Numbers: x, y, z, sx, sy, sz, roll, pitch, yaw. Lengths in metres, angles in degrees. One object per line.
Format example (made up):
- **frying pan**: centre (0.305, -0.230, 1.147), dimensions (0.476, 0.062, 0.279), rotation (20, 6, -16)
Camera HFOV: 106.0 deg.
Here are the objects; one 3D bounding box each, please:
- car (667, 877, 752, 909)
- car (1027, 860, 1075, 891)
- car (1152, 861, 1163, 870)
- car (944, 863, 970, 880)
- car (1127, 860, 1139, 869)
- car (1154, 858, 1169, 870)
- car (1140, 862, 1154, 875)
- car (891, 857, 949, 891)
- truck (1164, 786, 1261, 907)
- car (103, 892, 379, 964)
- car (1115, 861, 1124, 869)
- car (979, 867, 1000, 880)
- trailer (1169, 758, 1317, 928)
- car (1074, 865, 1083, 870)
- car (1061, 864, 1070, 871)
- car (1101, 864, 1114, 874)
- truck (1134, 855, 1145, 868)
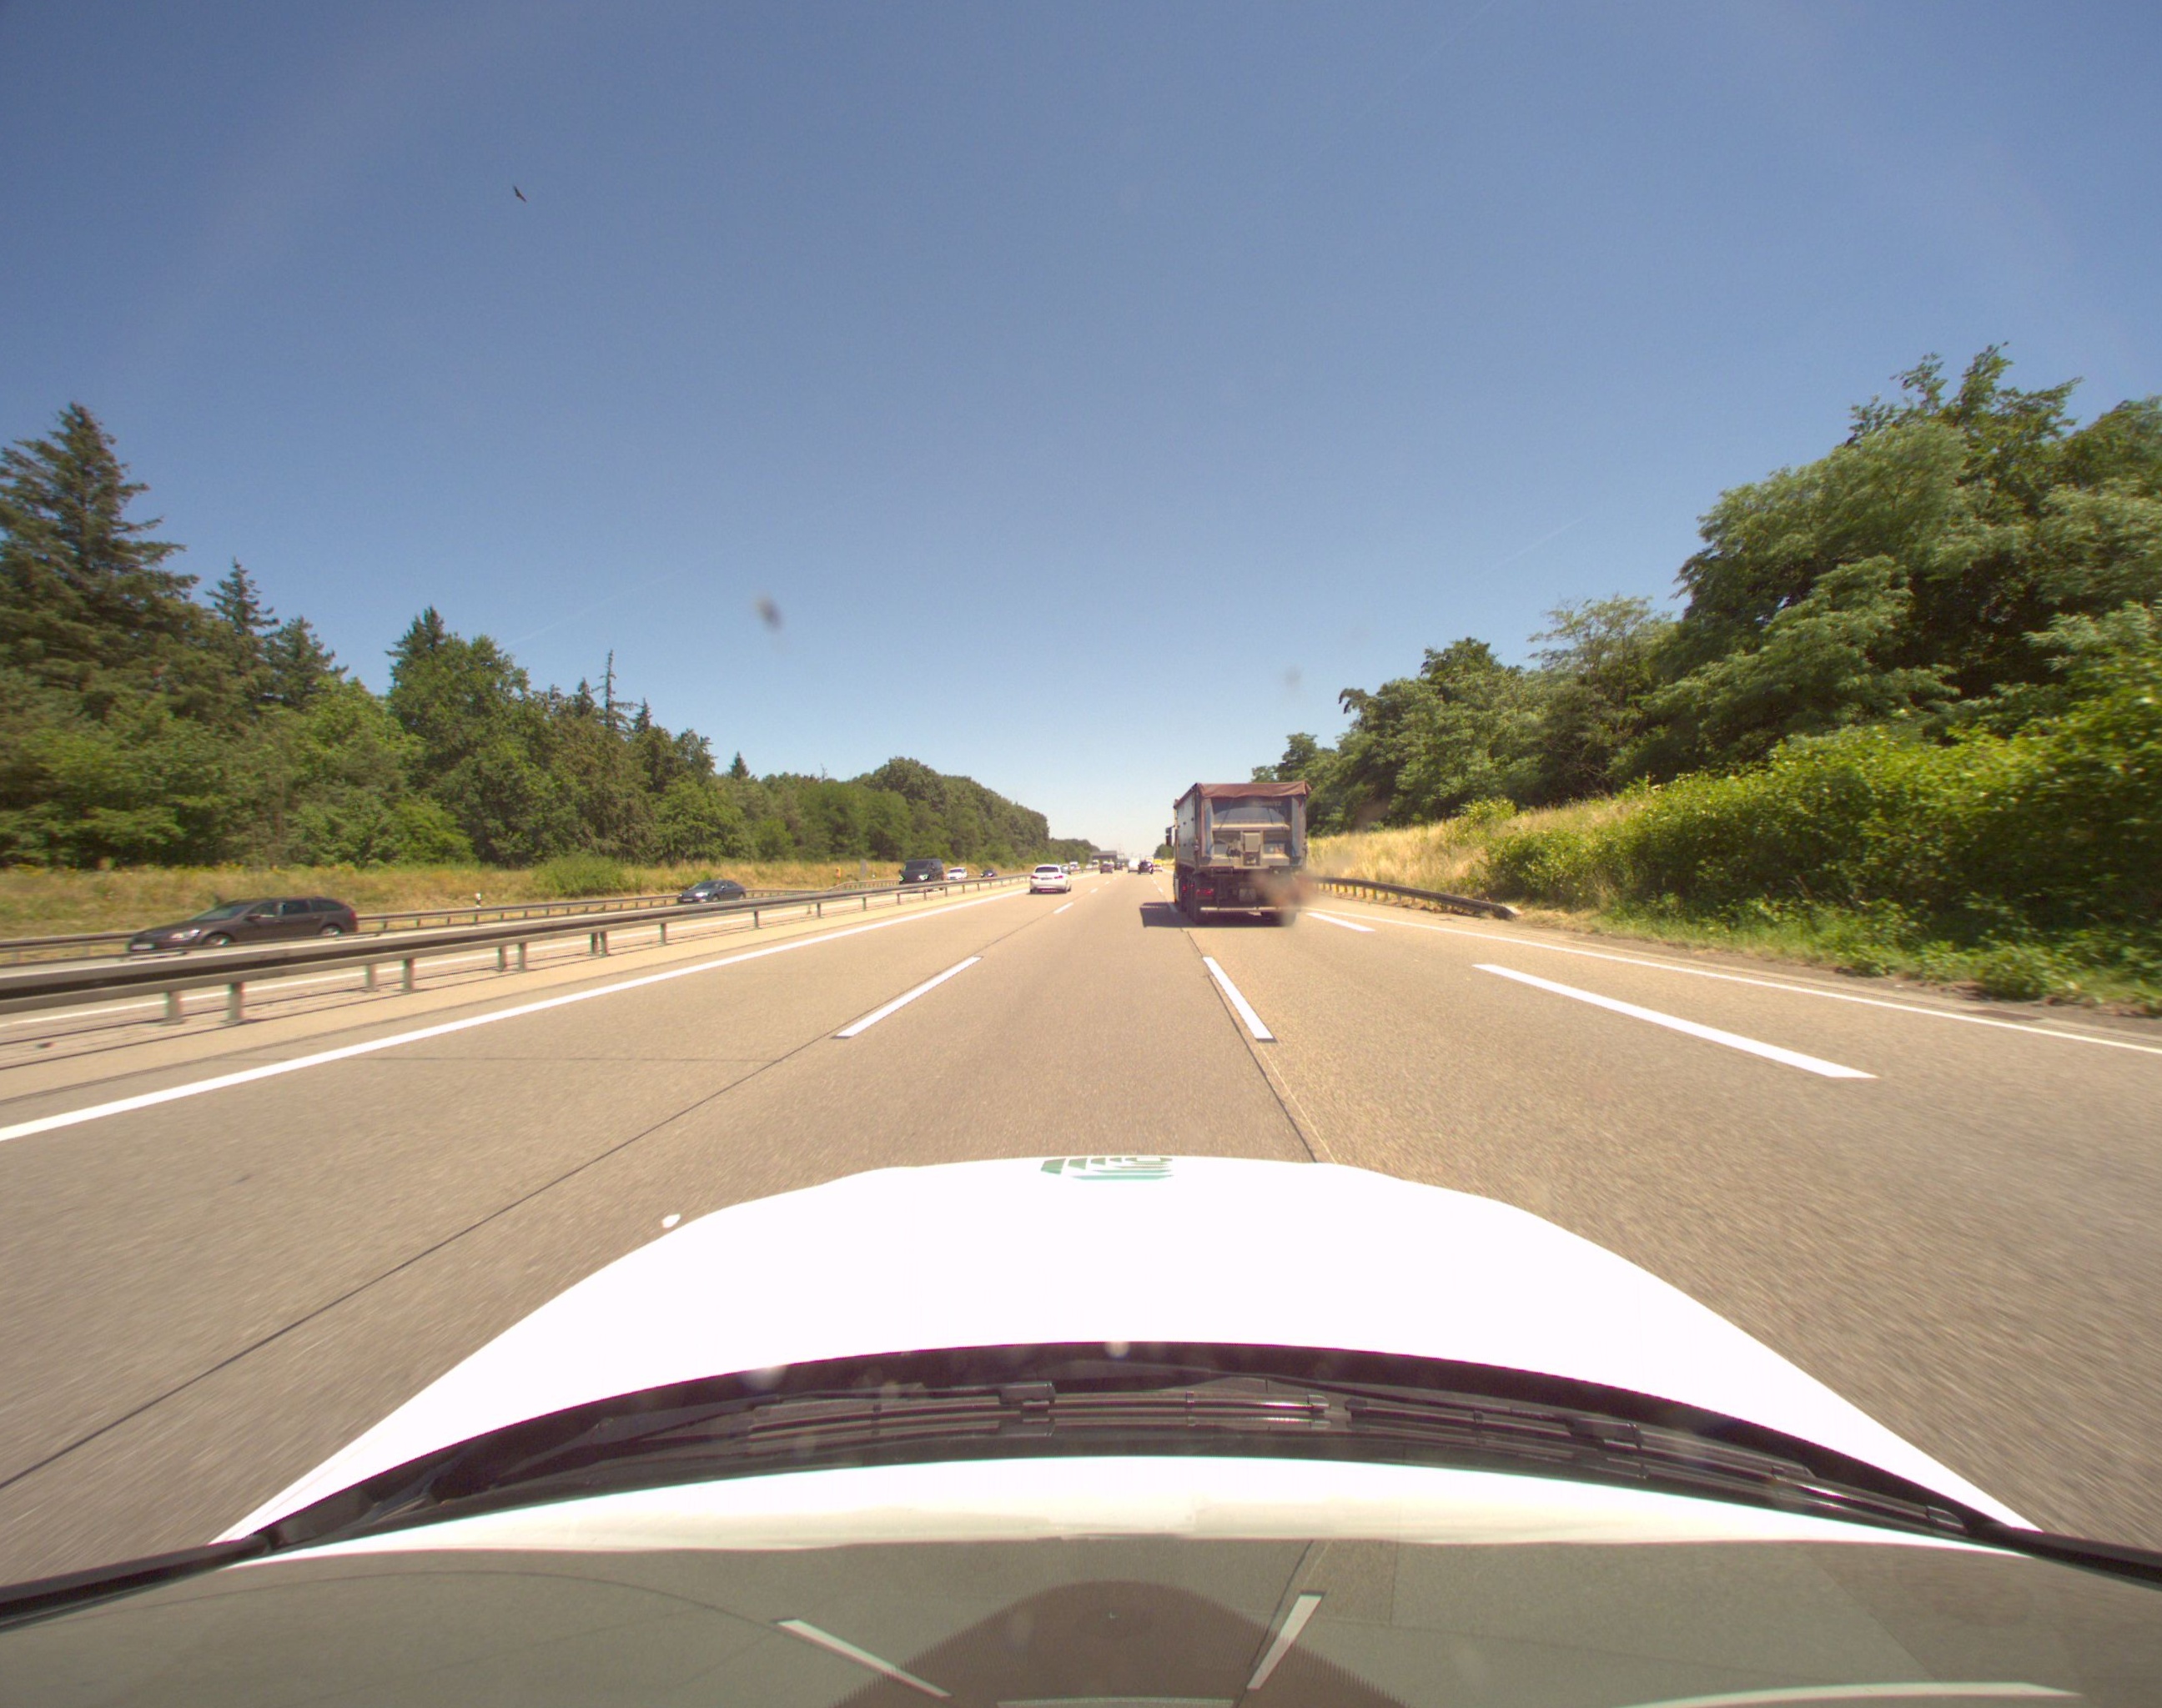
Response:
- **car**: centre (-19.684, 2.045, 43.441), dimensions (1.918, 1.463, 4.948), rotation (-2, -1, 4)
- **car**: centre (-1.485, 1.106, 42.834), dimensions (1.955, 1.504, 5.410), rotation (-1, -1, 4)
- **car**: centre (13.453, 2.071, 142.657), dimensions (1.812, 1.492, 3.742), rotation (0, -1, 5)
- **car**: centre (-15.054, 2.088, 99.175), dimensions (1.985, 1.828, 4.647), rotation (-3, -1, 4)
- **car**: centre (8.371, 1.622, 130.118), dimensions (1.885, 1.469, 4.266), rotation (0, 0, 4)
- **car**: centre (16.866, 2.113, 170.935), dimensions (2.656, 2.634, 6.116), rotation (0, -1, 3)
- **car**: centre (8.885, 1.961, 109.758), dimensions (1.824, 1.672, 4.002), rotation (0, -1, 2)
- **car**: centre (-10.045, 1.204, 51.326), dimensions (2.269, 1.940, 4.948), rotation (-2, -1, 4)
- **truck**: centre (4.420, -0.225, 28.491), dimensions (2.673, 3.758, 5.949), rotation (-1, 0, 3)
- **car**: centre (-22.220, 1.899, 21.933), dimensions (2.076, 1.463, 4.948), rotation (-2, -1, 4)
- **car**: centre (8.264, 2.425, 176.287), dimensions (1.867, 1.580, 3.932), rotation (-1, 0, 4)
- **car**: centre (-13.285, 2.815, 118.333), dimensions (1.985, 1.703, 4.984), rotation (-3, -1, 4)
- **trailer**: centre (4.113, -0.240, 22.739), dimensions (2.725, 3.758, 9.116), rotation (-1, 0, 3)
- **car**: centre (-0.686, 3.866, 234.149), dimensions (1.842, 1.527, 5.212), rotation (-2, -1, 5)
- **car**: centre (-4.405, 3.876, 234.635), dimensions (1.984, 1.953, 5.250), rotation (-4, -1, 4)
- **car**: centre (3.977, 2.263, 121.507), dimensions (1.823, 1.431, 5.005), rotation (-1, 0, 4)
- **truck**: centre (13.360, 1.669, 187.130), dimensions (2.419, 2.884, 6.208), rotation (0, -1, 3)
